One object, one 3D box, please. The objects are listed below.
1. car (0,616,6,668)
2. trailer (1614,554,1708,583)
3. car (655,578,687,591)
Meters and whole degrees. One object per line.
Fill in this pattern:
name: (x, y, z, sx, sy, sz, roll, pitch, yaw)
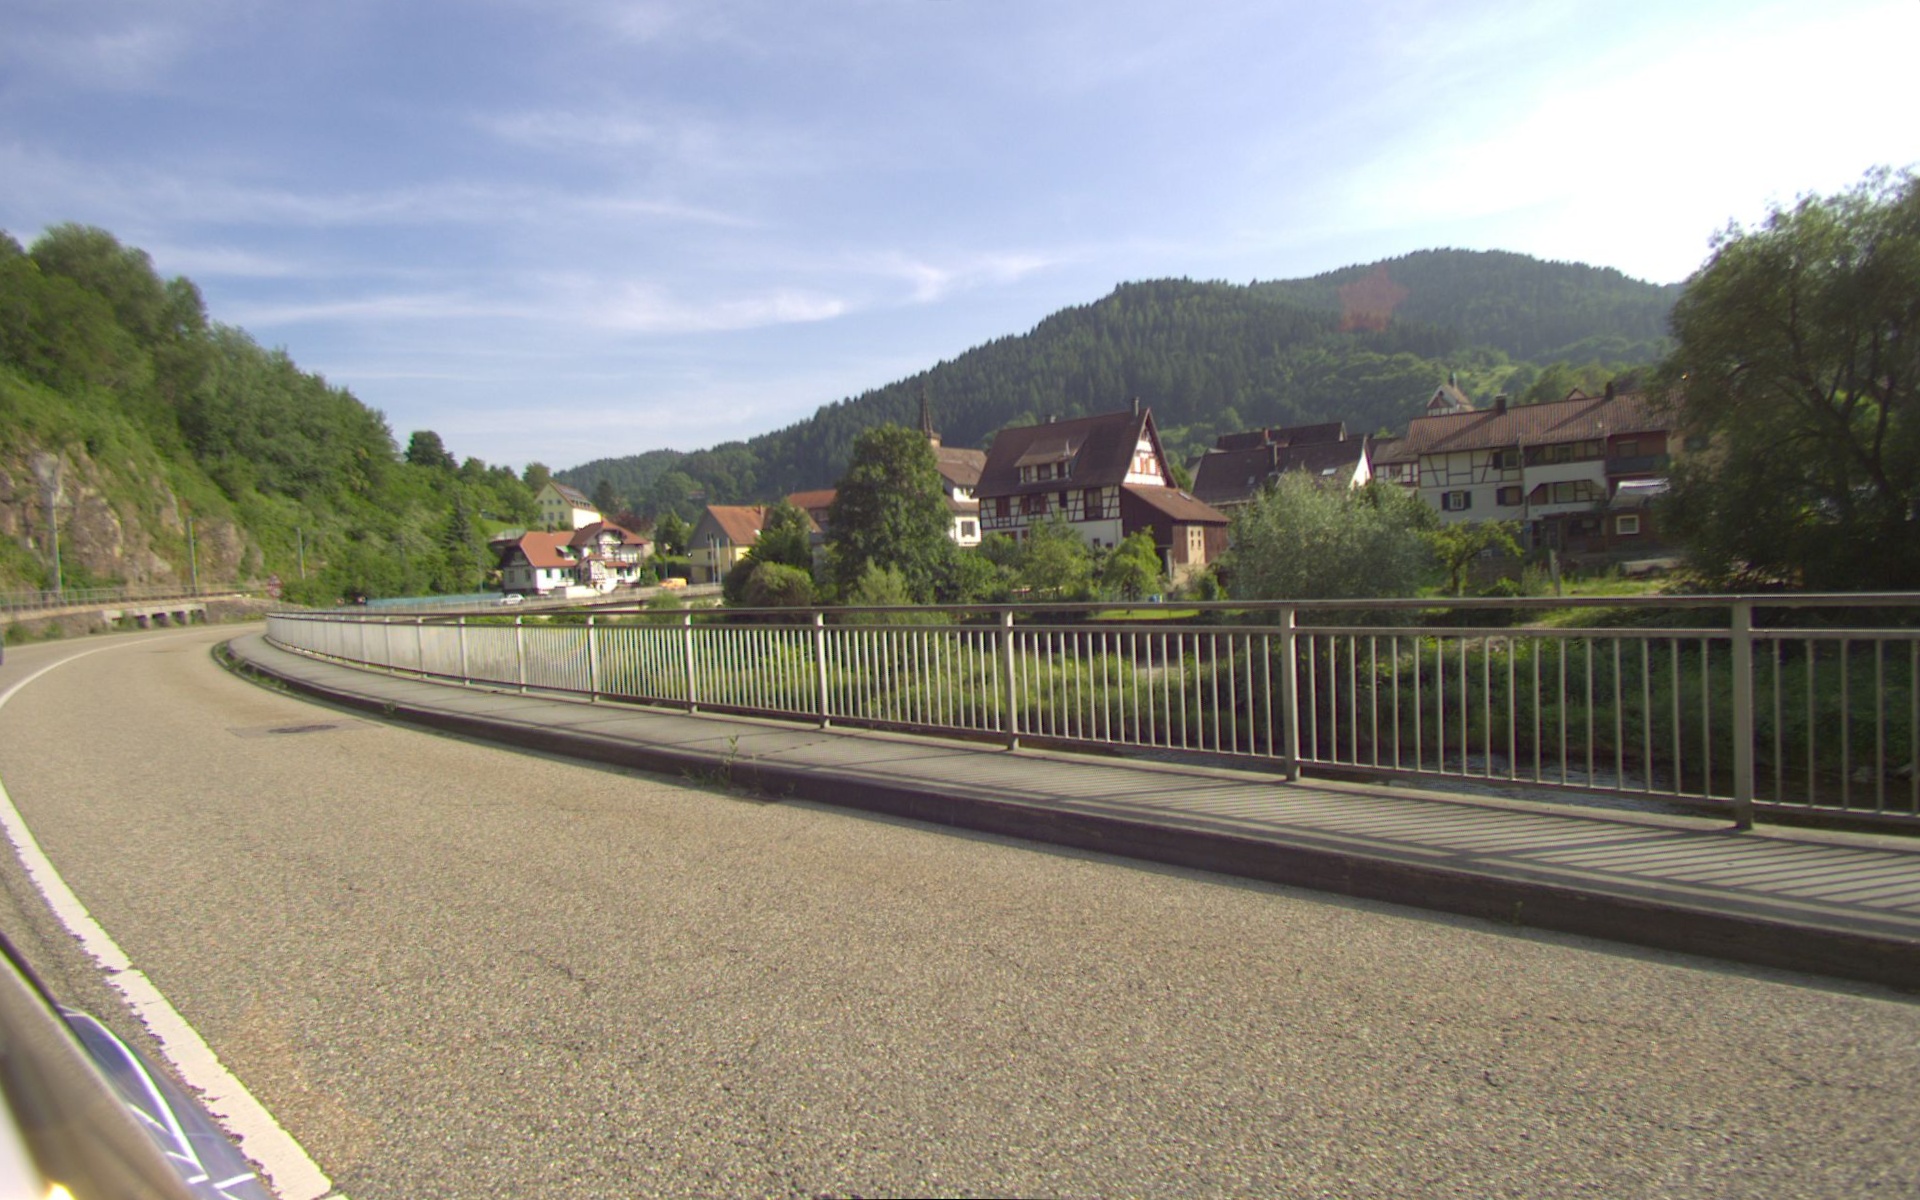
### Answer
car: (-28.370, 1.244, 28.484, 1.656, 1.533, 3.875, -2, 1, -35)
trailer: (36.203, -1.595, 52.399, 3.678, 1.320, 1.882, -1, -1, 25)
car: (-45.644, -2.452, 160.090, 1.911, 2.013, 4.776, 0, -1, 36)
